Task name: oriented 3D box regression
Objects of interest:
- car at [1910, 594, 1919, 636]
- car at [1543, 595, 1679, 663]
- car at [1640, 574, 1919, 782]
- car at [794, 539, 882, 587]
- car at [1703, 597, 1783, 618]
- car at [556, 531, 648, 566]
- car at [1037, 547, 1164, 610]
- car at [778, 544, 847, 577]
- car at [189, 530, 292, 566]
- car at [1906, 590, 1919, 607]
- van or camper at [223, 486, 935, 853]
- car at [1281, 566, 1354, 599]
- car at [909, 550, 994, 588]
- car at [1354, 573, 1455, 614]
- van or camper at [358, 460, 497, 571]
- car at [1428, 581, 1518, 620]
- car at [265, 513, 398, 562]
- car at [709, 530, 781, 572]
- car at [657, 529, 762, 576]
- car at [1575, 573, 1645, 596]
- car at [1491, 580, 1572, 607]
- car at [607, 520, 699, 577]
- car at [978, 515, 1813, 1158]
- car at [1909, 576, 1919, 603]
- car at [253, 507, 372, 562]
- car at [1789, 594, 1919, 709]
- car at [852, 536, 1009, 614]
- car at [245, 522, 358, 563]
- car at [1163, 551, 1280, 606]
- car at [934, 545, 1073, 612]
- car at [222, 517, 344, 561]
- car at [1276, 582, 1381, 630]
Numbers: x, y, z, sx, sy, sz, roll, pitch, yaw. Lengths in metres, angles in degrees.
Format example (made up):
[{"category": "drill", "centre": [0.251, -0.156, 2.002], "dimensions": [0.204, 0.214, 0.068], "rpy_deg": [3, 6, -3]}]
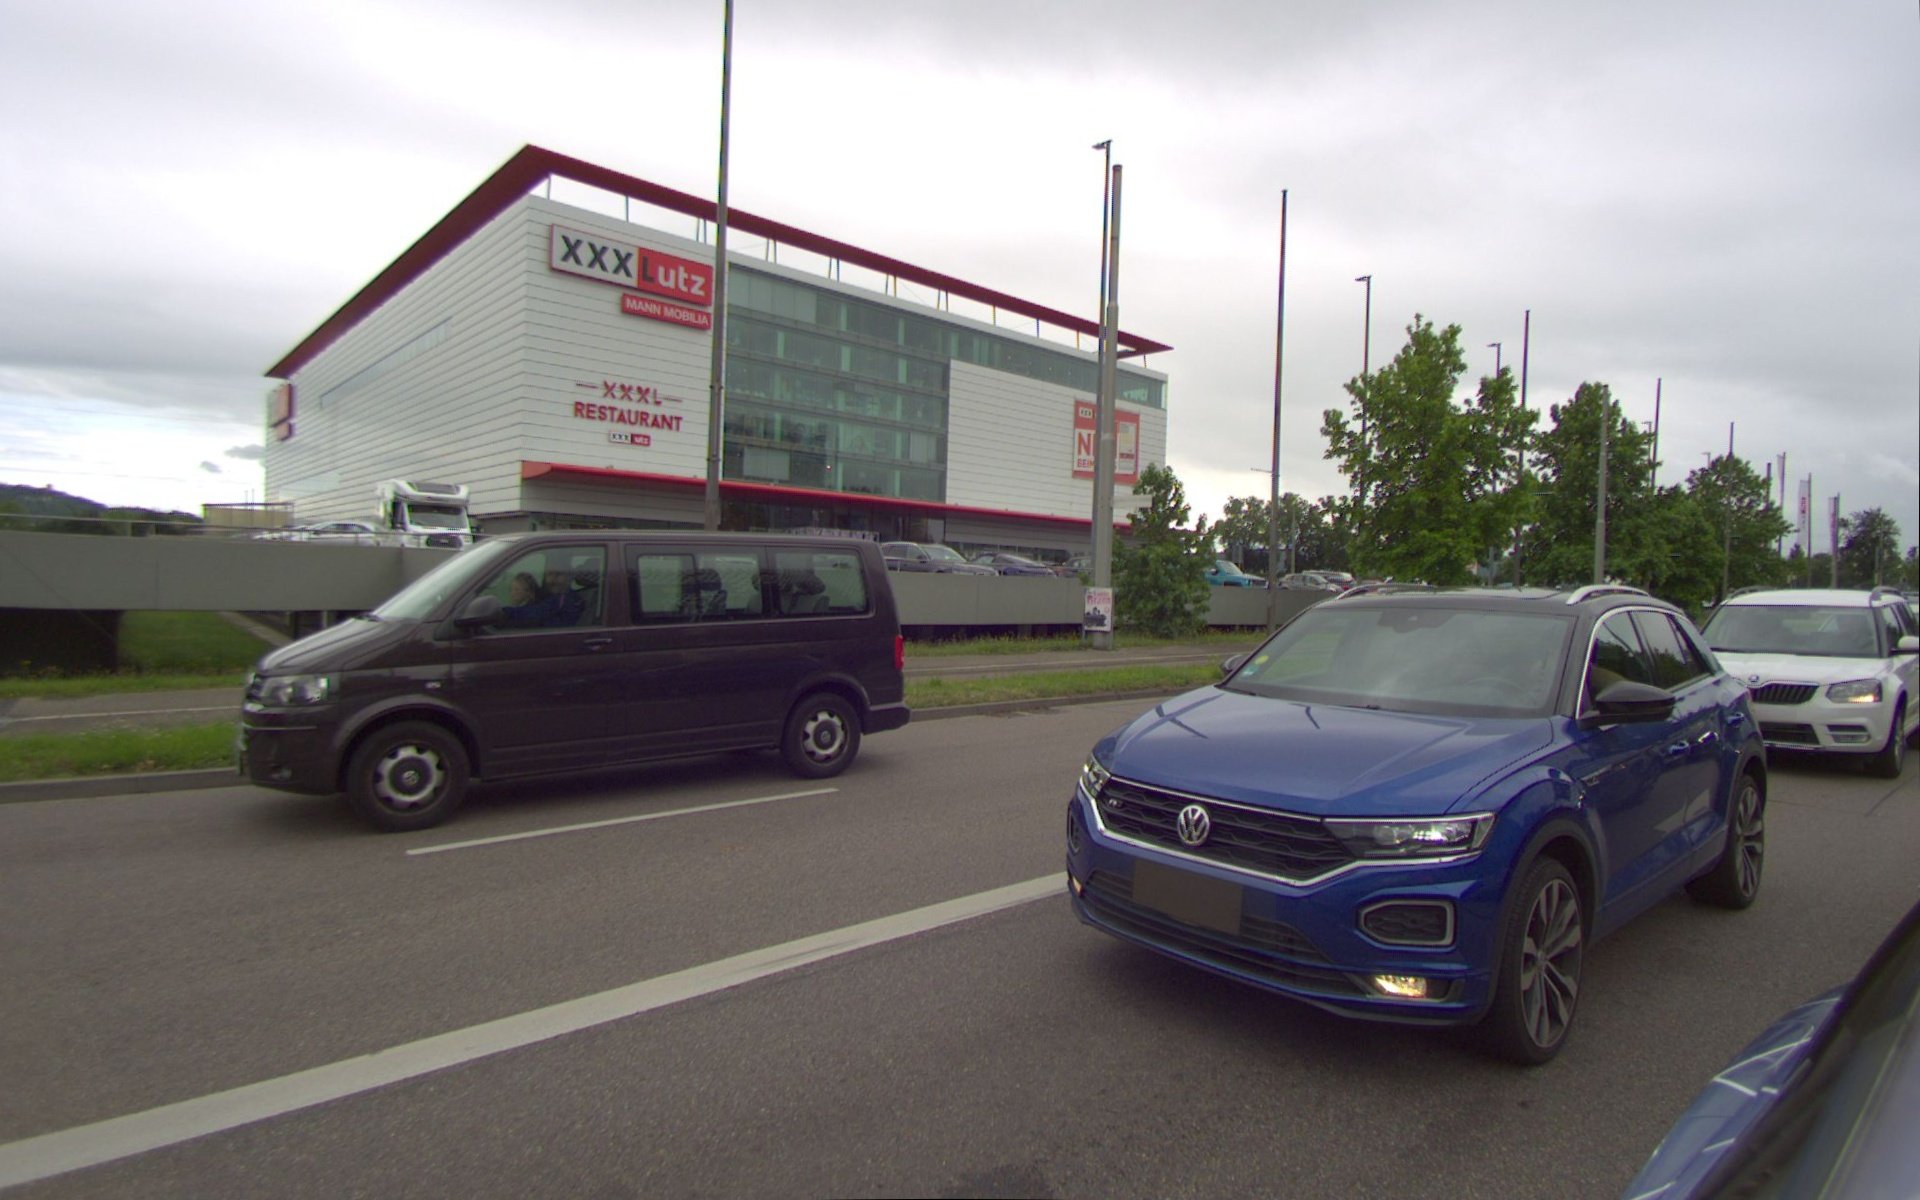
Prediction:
[{"category": "car", "centre": [40.306, 0.582, 41.259], "dimensions": [4.297, 1.645, 1.798], "rpy_deg": [-1, 0, -40]}, {"category": "car", "centre": [14.825, 0.596, 22.966], "dimensions": [3.860, 1.389, 1.691], "rpy_deg": [-1, 1, -43]}, {"category": "car", "centre": [8.508, 0.590, 10.065], "dimensions": [4.297, 1.645, 1.798], "rpy_deg": [-1, 0, -40]}, {"category": "car", "centre": [-5.568, -1.628, 45.801], "dimensions": [1.965, 2.039, 4.174], "rpy_deg": [0, 0, -41]}, {"category": "car", "centre": [55.759, 0.493, 72.119], "dimensions": [1.771, 1.433, 4.212], "rpy_deg": [-1, 1, -41]}, {"category": "car", "centre": [-18.713, -2.662, 53.017], "dimensions": [4.185, 1.697, 1.774], "rpy_deg": [-1, 0, -41]}, {"category": "car", "centre": [4.743, -0.708, 34.572], "dimensions": [1.966, 2.039, 3.991], "rpy_deg": [0, 0, -42]}, {"category": "car", "centre": [-8.339, -2.189, 57.029], "dimensions": [1.967, 1.761, 3.991], "rpy_deg": [-1, 0, -43]}, {"category": "car", "centre": [-36.771, -2.627, 51.782], "dimensions": [4.185, 1.697, 1.774], "rpy_deg": [-1, 0, -41]}, {"category": "car", "centre": [106.454, -0.130, 110.969], "dimensions": [3.987, 1.819, 1.969], "rpy_deg": [3, 1, 44]}, {"category": "van or camper", "centre": [-2.782, 0.357, 7.976], "dimensions": [4.852, 2.039, 2.163], "rpy_deg": [-1, 0, -38]}, {"category": "car", "centre": [22.900, -1.094, 64.940], "dimensions": [1.966, 2.039, 3.991], "rpy_deg": [0, 0, -42]}, {"category": "car", "centre": [-0.459, -1.450, 48.985], "dimensions": [1.967, 1.761, 3.991], "rpy_deg": [-1, 0, -43]}, {"category": "car", "centre": [22.654, -0.331, 51.642], "dimensions": [1.966, 2.039, 4.317], "rpy_deg": [0, 0, -42]}, {"category": "van or camper", "centre": [-17.991, -2.637, 33.956], "dimensions": [2.667, 3.175, 7.226], "rpy_deg": [0, 0, -40]}, {"category": "car", "centre": [28.061, 0.015, 55.423], "dimensions": [1.965, 2.039, 3.994], "rpy_deg": [0, 0, -41]}, {"category": "car", "centre": [-24.306, -2.374, 39.228], "dimensions": [4.185, 1.697, 1.774], "rpy_deg": [-1, 0, -41]}, {"category": "car", "centre": [-11.357, -2.552, 53.392], "dimensions": [1.966, 2.039, 3.991], "rpy_deg": [0, 0, -42]}, {"category": "car", "centre": [-8.719, -1.586, 35.064], "dimensions": [1.839, 1.455, 3.984], "rpy_deg": [-1, 1, -44]}, {"category": "car", "centre": [47.509, -1.113, 74.004], "dimensions": [1.765, 1.585, 3.994], "rpy_deg": [-1, 0, -40]}, {"category": "car", "centre": [35.034, -0.411, 62.151], "dimensions": [1.765, 1.585, 3.994], "rpy_deg": [-1, 0, -40]}, {"category": "car", "centre": [-11.703, -1.911, 38.466], "dimensions": [1.839, 1.972, 3.859], "rpy_deg": [0, 0, -44]}, {"category": "car", "centre": [2.285, 0.578, 4.674], "dimensions": [4.255, 1.642, 1.845], "rpy_deg": [-1, 0, -40]}, {"category": "car", "centre": [83.729, -0.889, 87.668], "dimensions": [3.933, 2.270, 1.996], "rpy_deg": [1, 1, -44]}, {"category": "car", "centre": [-26.746, -2.664, 41.847], "dimensions": [3.929, 2.039, 1.998], "rpy_deg": [-1, 0, -40]}, {"category": "car", "centre": [13.535, 0.651, 14.572], "dimensions": [4.145, 1.433, 1.800], "rpy_deg": [-1, 0, -41]}, {"category": "car", "centre": [-0.915, -0.673, 28.660], "dimensions": [1.967, 2.039, 4.522], "rpy_deg": [0, 0, -43]}, {"category": "car", "centre": [-30.167, -2.599, 46.422], "dimensions": [4.185, 1.697, 1.774], "rpy_deg": [-1, 0, -41]}, {"category": "car", "centre": [10.082, -0.808, 39.200], "dimensions": [1.966, 2.039, 3.991], "rpy_deg": [0, 0, -42]}, {"category": "car", "centre": [1.268, -0.624, 30.629], "dimensions": [1.967, 1.872, 3.991], "rpy_deg": [-1, 0, -43]}, {"category": "car", "centre": [-29.040, -2.589, 43.488], "dimensions": [4.185, 1.697, 1.774], "rpy_deg": [-1, 0, -41]}, {"category": "car", "centre": [16.417, 0.229, 45.187], "dimensions": [1.966, 2.039, 3.991], "rpy_deg": [0, 0, -42]}]
